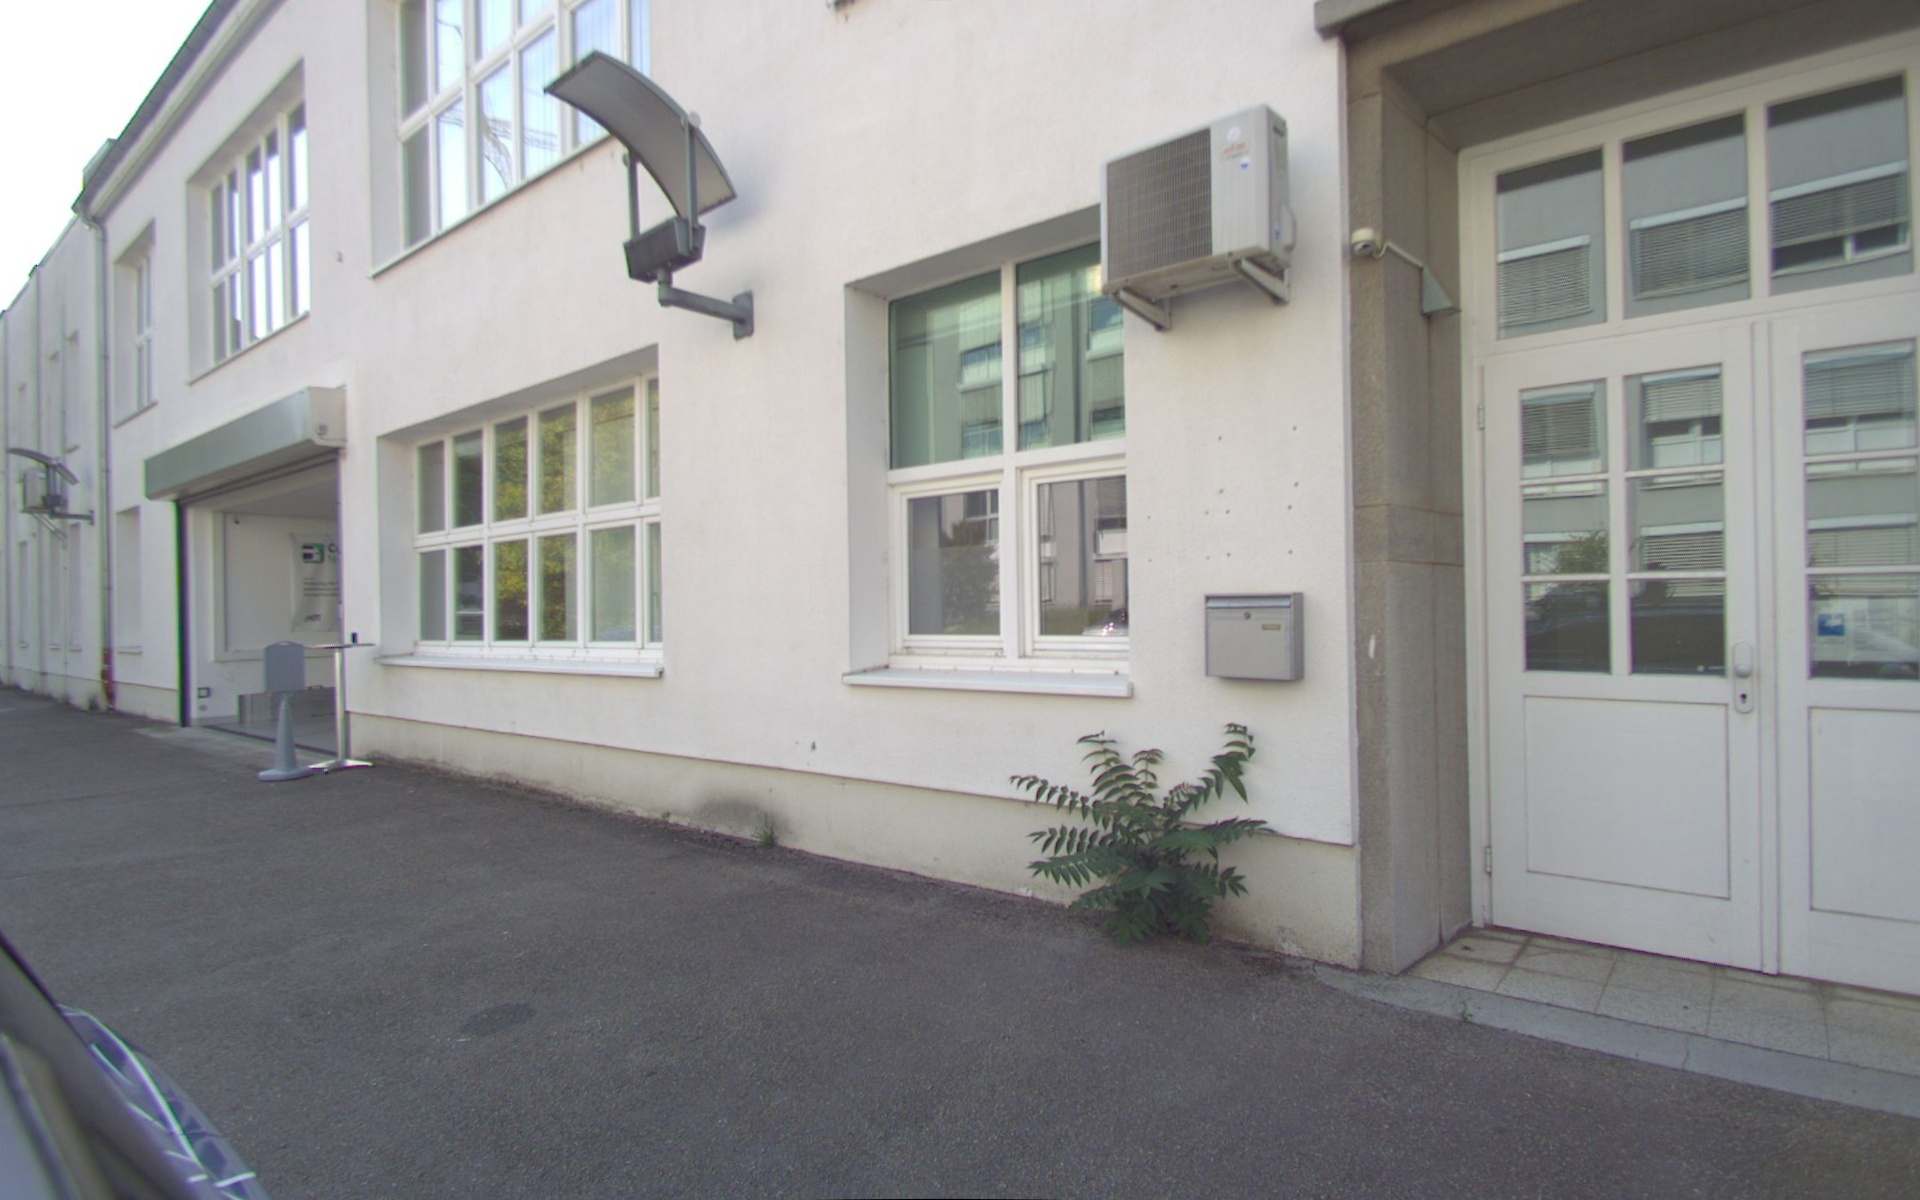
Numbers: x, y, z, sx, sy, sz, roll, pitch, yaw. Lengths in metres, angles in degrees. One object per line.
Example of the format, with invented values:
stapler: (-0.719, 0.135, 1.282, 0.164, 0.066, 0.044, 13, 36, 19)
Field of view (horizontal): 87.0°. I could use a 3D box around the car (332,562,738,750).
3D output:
car: (-5.582, 0.597, 13.835, 2.054, 2.108, 4.699, -1, 0, 40)
